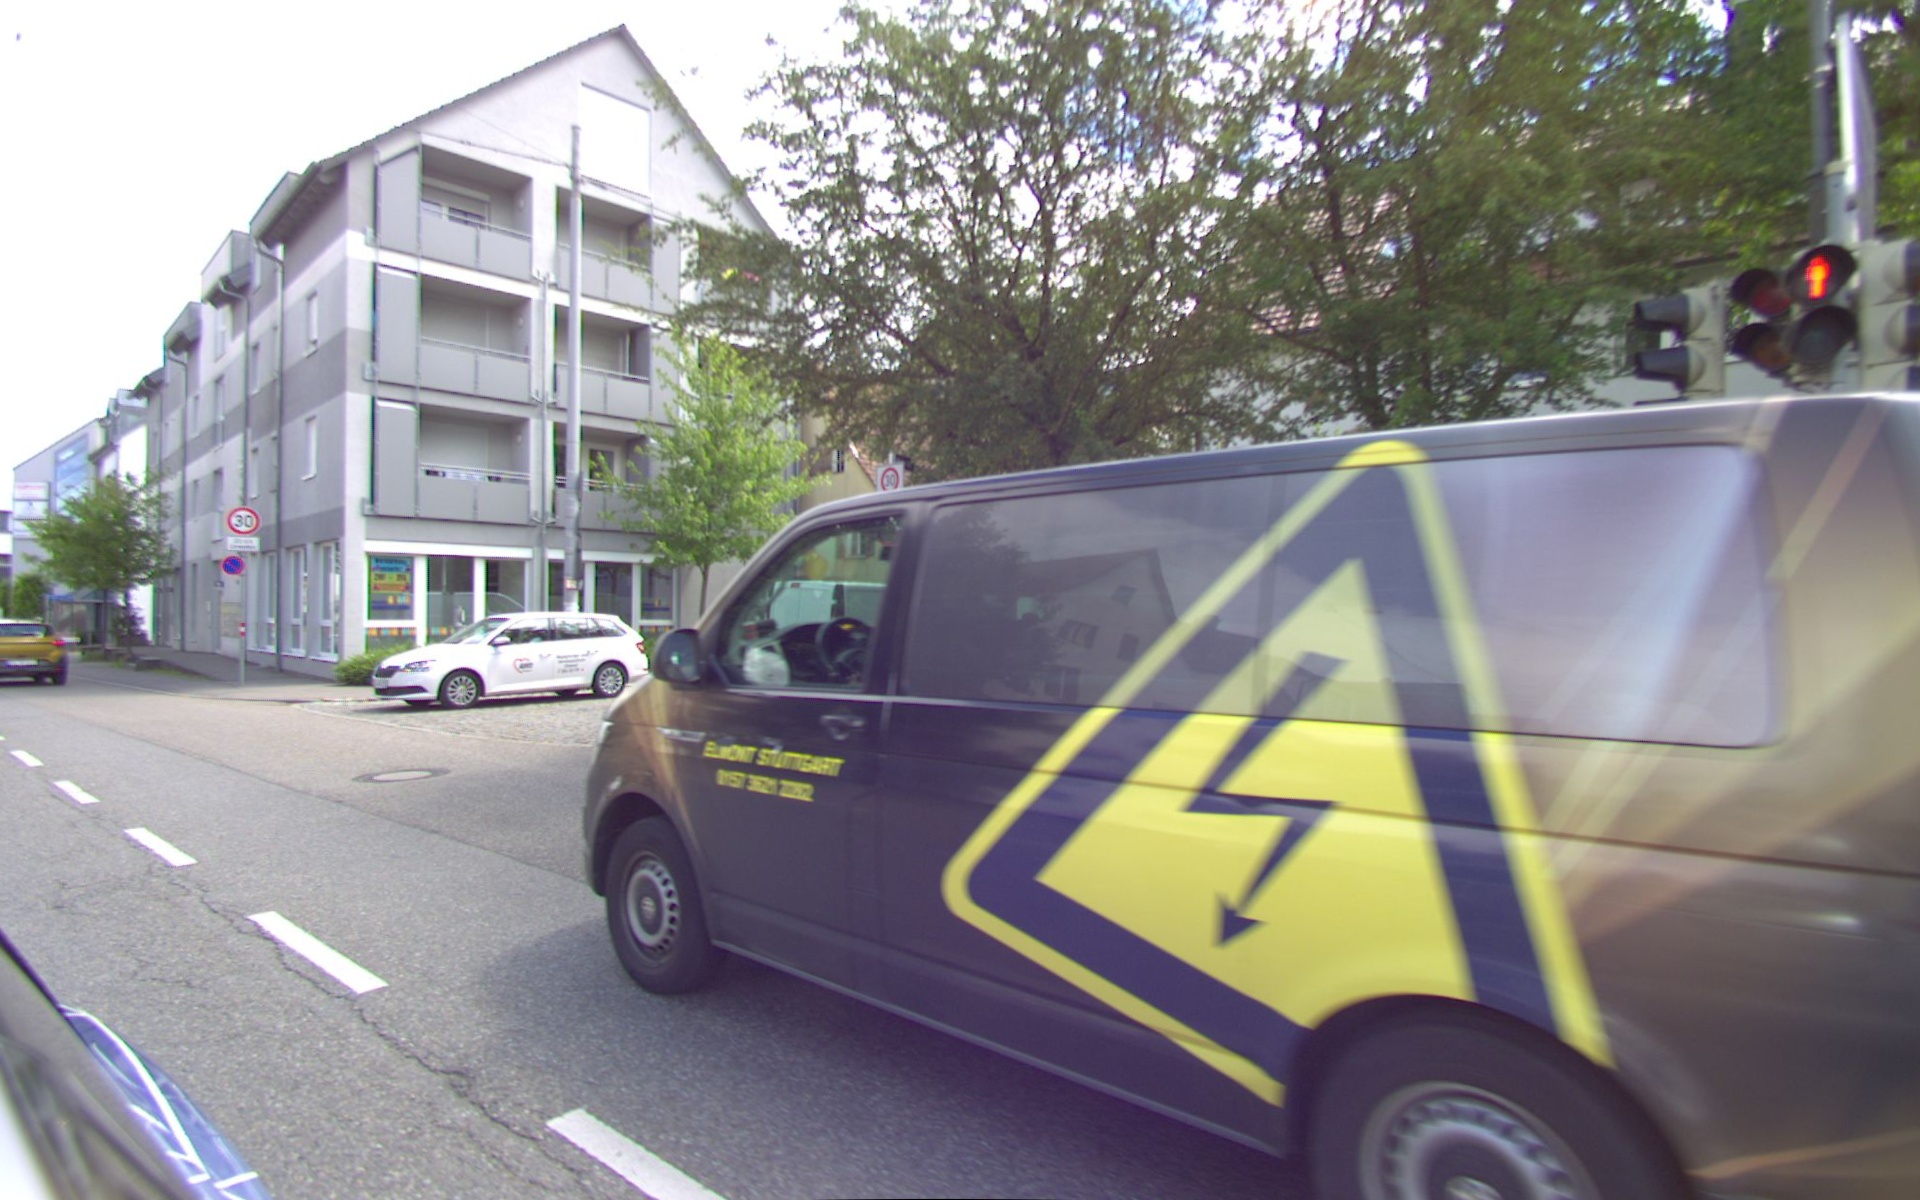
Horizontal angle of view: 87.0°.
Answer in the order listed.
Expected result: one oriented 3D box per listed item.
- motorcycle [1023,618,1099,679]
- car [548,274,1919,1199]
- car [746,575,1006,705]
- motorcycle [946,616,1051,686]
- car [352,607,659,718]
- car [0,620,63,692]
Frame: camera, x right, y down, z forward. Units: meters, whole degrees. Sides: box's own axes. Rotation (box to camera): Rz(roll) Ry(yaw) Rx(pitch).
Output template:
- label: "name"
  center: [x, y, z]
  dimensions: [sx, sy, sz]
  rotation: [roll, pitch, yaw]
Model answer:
- label: "motorcycle"
  center: [2.284, 1.082, 22.809]
  dimensions: [1.589, 1.345, 0.681]
  rotation: [-1, -1, 20]
- label: "car"
  center: [0.770, 0.525, 3.195]
  dimensions: [4.748, 1.927, 1.858]
  rotation: [-1, -1, 40]
- label: "car"
  center: [-1.373, 0.646, 18.234]
  dimensions: [2.093, 2.024, 4.575]
  rotation: [-1, -1, 39]
- label: "motorcycle"
  center: [0.762, 1.012, 20.681]
  dimensions: [2.136, 1.343, 0.832]
  rotation: [-1, -1, 44]
- label: "car"
  center: [-7.232, 0.920, 16.409]
  dimensions: [1.821, 1.525, 4.167]
  rotation: [-3, -2, 41]
- label: "car"
  center: [-22.505, 1.296, 23.733]
  dimensions: [3.998, 1.550, 1.710]
  rotation: [-2, -2, 41]
